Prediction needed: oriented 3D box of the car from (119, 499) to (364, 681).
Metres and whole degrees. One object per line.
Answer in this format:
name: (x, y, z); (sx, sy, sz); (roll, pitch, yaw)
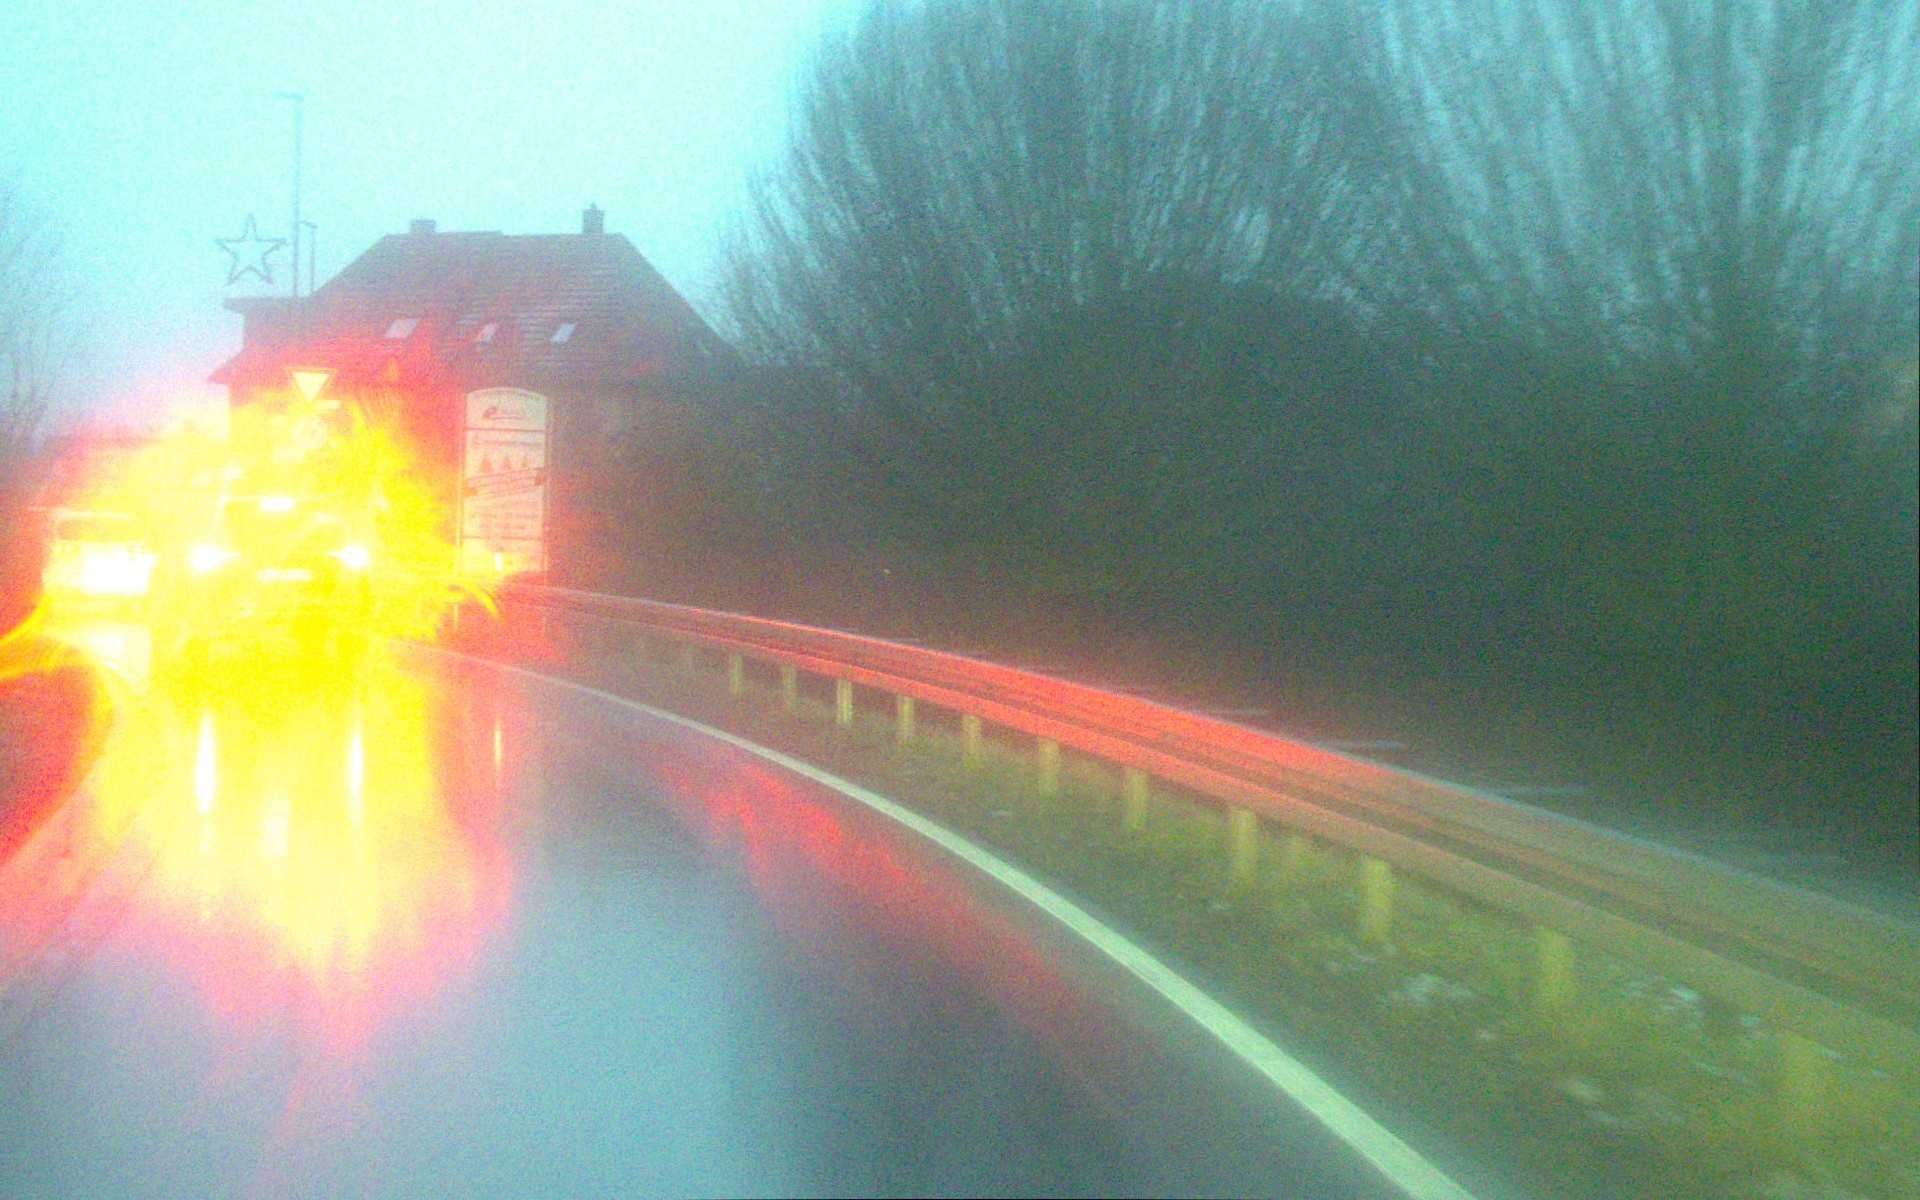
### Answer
car: (-7.418, -0.130, 35.226); (1.944, 1.712, 4.001); (2, 1, -19)

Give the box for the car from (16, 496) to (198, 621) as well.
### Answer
car: (-12.781, -0.650, 51.312); (2.163, 1.683, 4.573); (1, 2, -20)
